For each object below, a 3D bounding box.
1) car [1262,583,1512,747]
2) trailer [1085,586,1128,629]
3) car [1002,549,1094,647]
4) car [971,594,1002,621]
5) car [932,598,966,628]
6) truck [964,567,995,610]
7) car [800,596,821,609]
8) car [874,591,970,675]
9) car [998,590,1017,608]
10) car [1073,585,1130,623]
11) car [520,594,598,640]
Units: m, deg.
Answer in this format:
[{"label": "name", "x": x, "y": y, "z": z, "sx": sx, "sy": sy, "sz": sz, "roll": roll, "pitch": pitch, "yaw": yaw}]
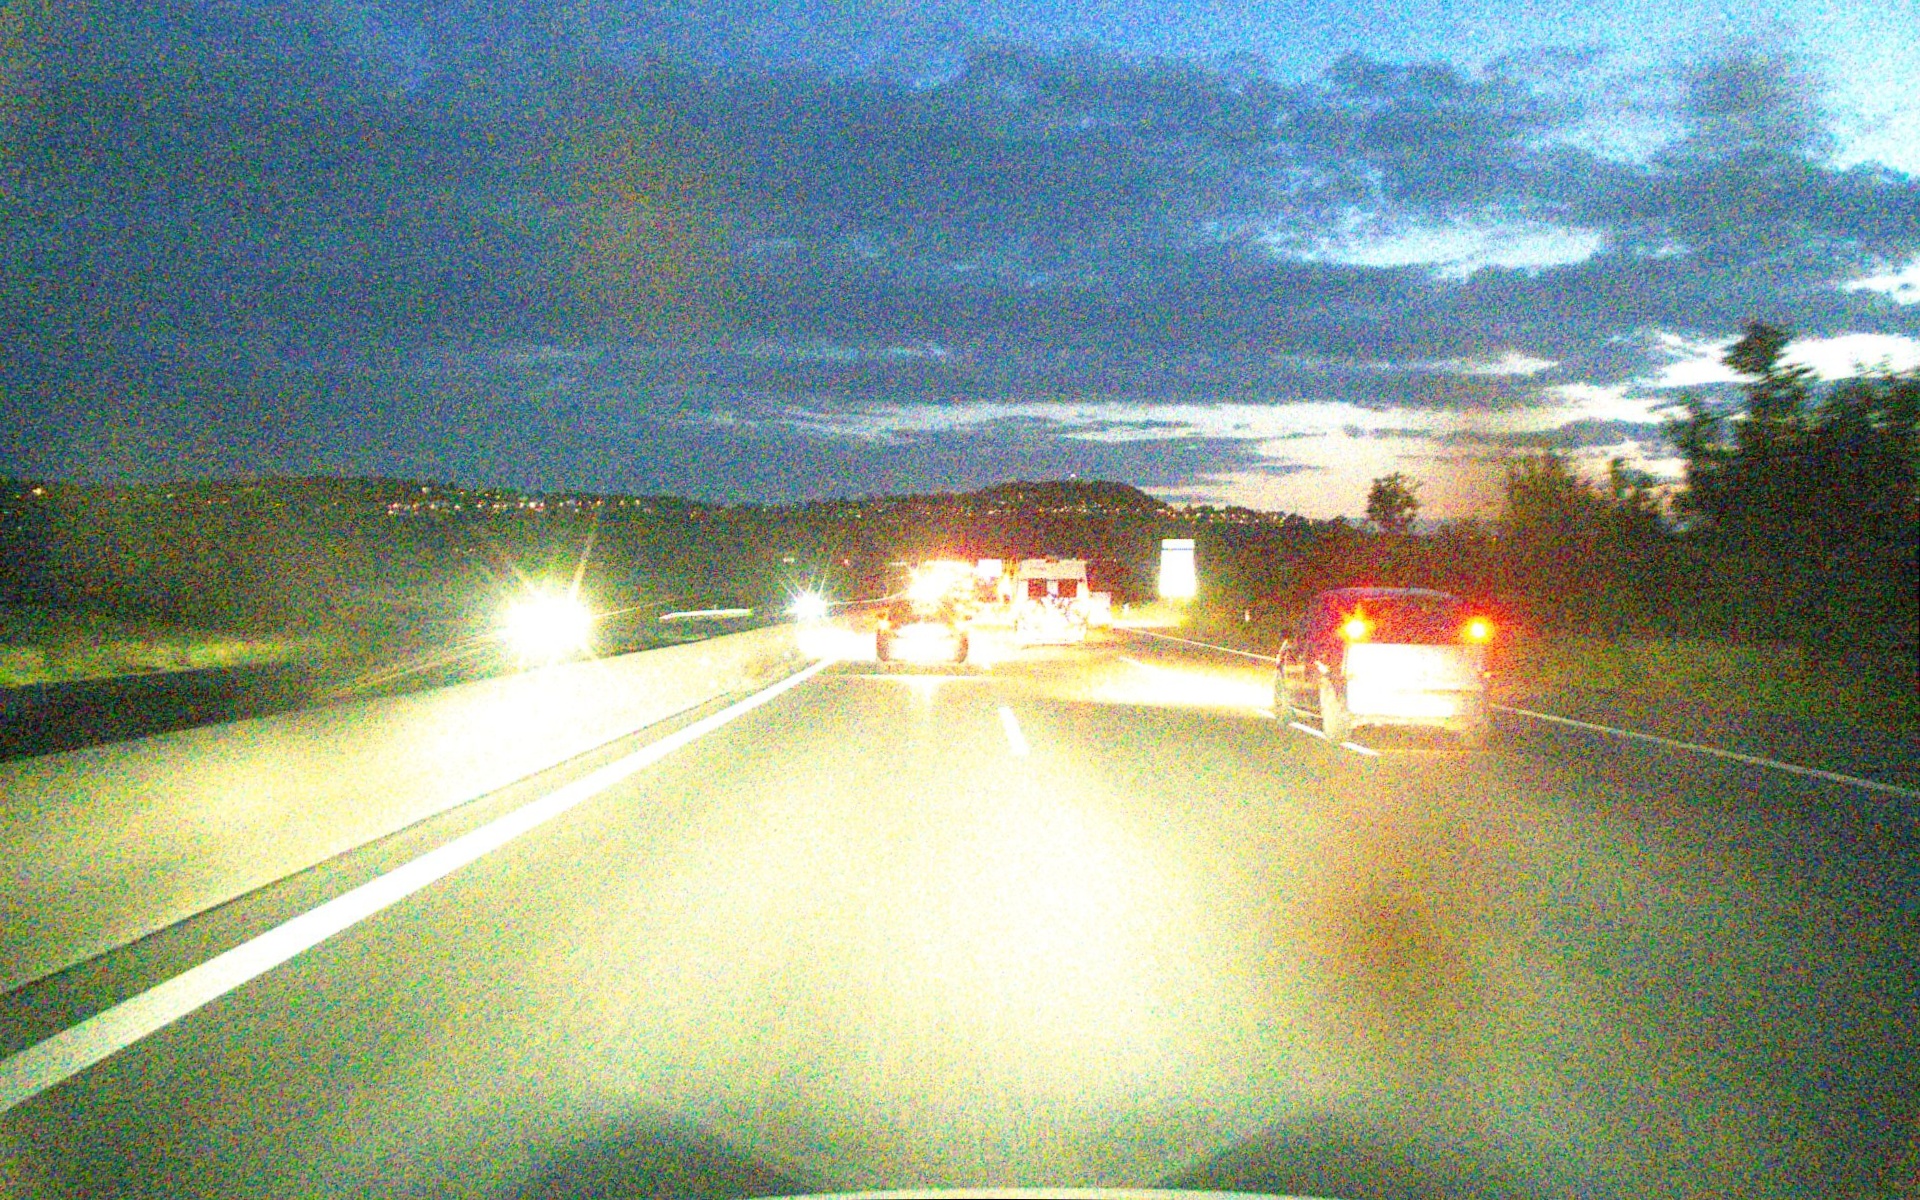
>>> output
[{"label": "car", "x": 4.640, "y": 0.636, "z": 18.629, "sx": 1.612, "sy": 1.624, "sz": 4.509, "roll": 0, "pitch": 0, "yaw": -1}, {"label": "trailer", "x": 6.048, "y": 0.309, "z": 68.505, "sx": 1.534, "sy": 1.723, "sz": 2.821, "roll": -1, "pitch": 0, "yaw": 0}, {"label": "car", "x": 2.420, "y": -0.093, "z": 46.991, "sx": 2.303, "sy": 2.579, "sz": 5.701, "roll": -1, "pitch": 1, "yaw": 0}, {"label": "car", "x": 1.964, "y": 0.547, "z": 124.647, "sx": 2.303, "sy": 1.947, "sz": 4.723, "roll": -1, "pitch": 0, "yaw": 0}, {"label": "car", "x": -0.545, "y": 0.642, "z": 86.712, "sx": 1.709, "sy": 1.465, "sz": 4.368, "roll": -1, "pitch": 1, "yaw": 0}, {"label": "truck", "x": 1.851, "y": -1.057, "z": 159.743, "sx": 2.725, "sy": 4.024, "sz": 7.991, "roll": -1, "pitch": 0, "yaw": -1}, {"label": "car", "x": -17.058, "y": 0.282, "z": 188.650, "sx": 1.953, "sy": 1.444, "sz": 4.981, "roll": -3, "pitch": 0, "yaw": -2}, {"label": "car", "x": -0.679, "y": 0.589, "z": 32.052, "sx": 1.757, "sy": 1.494, "sz": 3.773, "roll": 0, "pitch": 1, "yaw": 0}, {"label": "car", "x": 5.910, "y": -0.177, "z": 206.185, "sx": 2.303, "sy": 2.112, "sz": 4.723, "roll": -1, "pitch": 1, "yaw": 0}, {"label": "car", "x": 6.142, "y": 0.171, "z": 72.164, "sx": 2.118, "sy": 1.591, "sz": 4.723, "roll": 0, "pitch": 0, "yaw": 0}, {"label": "car", "x": -16.731, "y": 0.696, "z": 69.303, "sx": 2.003, "sy": 1.750, "sz": 4.775, "roll": -3, "pitch": 0, "yaw": 0}]
